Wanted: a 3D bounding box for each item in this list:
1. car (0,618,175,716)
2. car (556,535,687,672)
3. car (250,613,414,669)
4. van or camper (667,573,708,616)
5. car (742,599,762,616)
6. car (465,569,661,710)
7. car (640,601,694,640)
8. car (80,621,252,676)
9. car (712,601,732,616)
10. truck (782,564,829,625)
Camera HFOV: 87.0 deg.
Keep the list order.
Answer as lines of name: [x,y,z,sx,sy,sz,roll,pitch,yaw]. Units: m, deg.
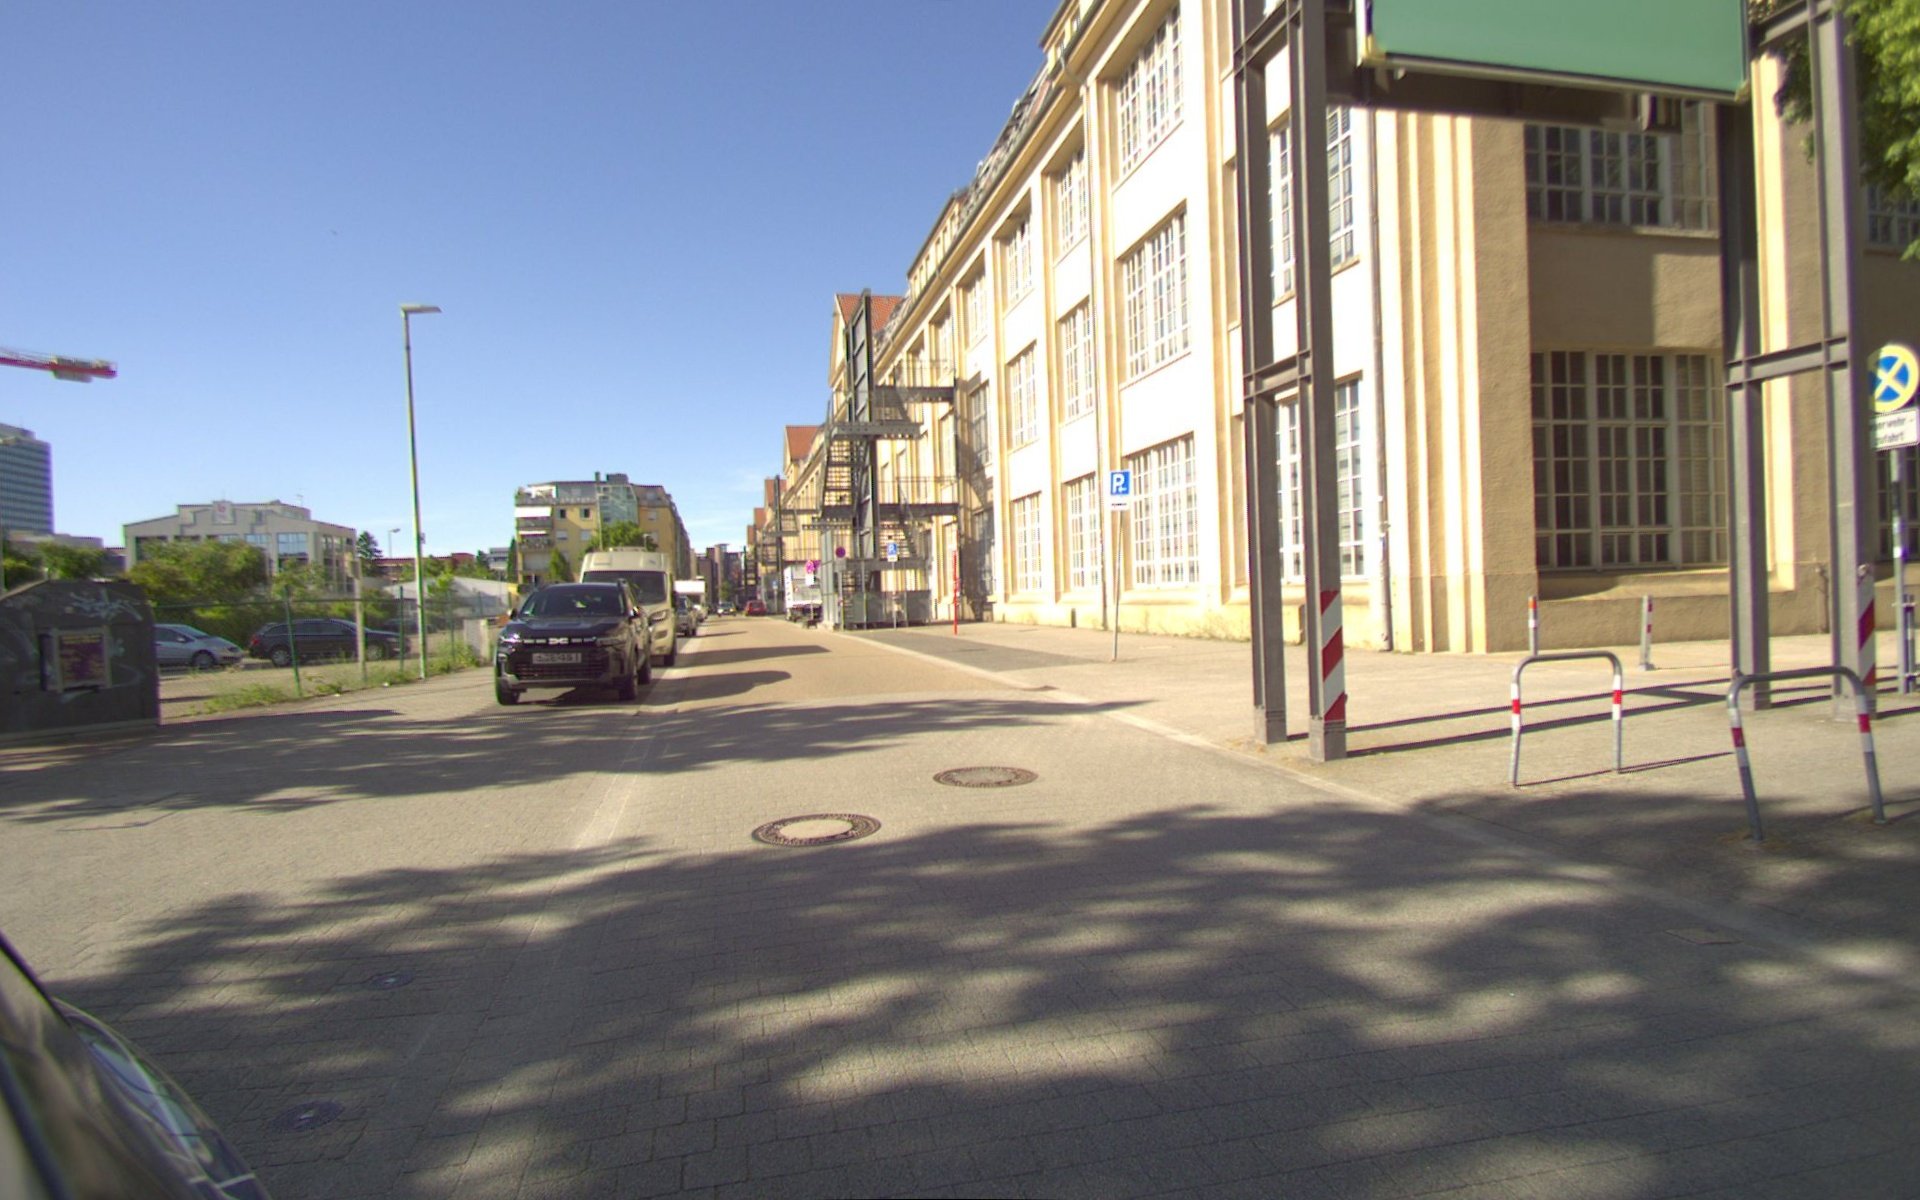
car: [-17.578,1.265,18.727,4.354,1.622,2.004,-3,0,-10]
car: [-7.461,0.069,22.950,2.129,2.616,6.300,-2,0,-13]
car: [-20.661,1.315,33.464,4.174,1.571,1.902,-3,0,-10]
van or camper: [-19.642,-0.382,73.025,2.678,2.878,5.149,-2,0,-15]
car: [-19.449,0.705,94.803,1.733,1.459,4.009,-3,0,-11]
car: [-5.616,0.504,14.852,1.967,1.708,4.113,-2,0,-12]
car: [-11.801,0.782,40.949,1.821,1.436,4.235,-2,0,-13]
car: [-26.916,1.615,34.463,4.172,1.571,1.902,-3,0,-13]
car: [-23.590,0.852,100.342,1.821,1.436,4.235,-2,0,-13]
truck: [-9.533,-0.330,62.037,2.460,3.457,7.144,-2,0,-11]
